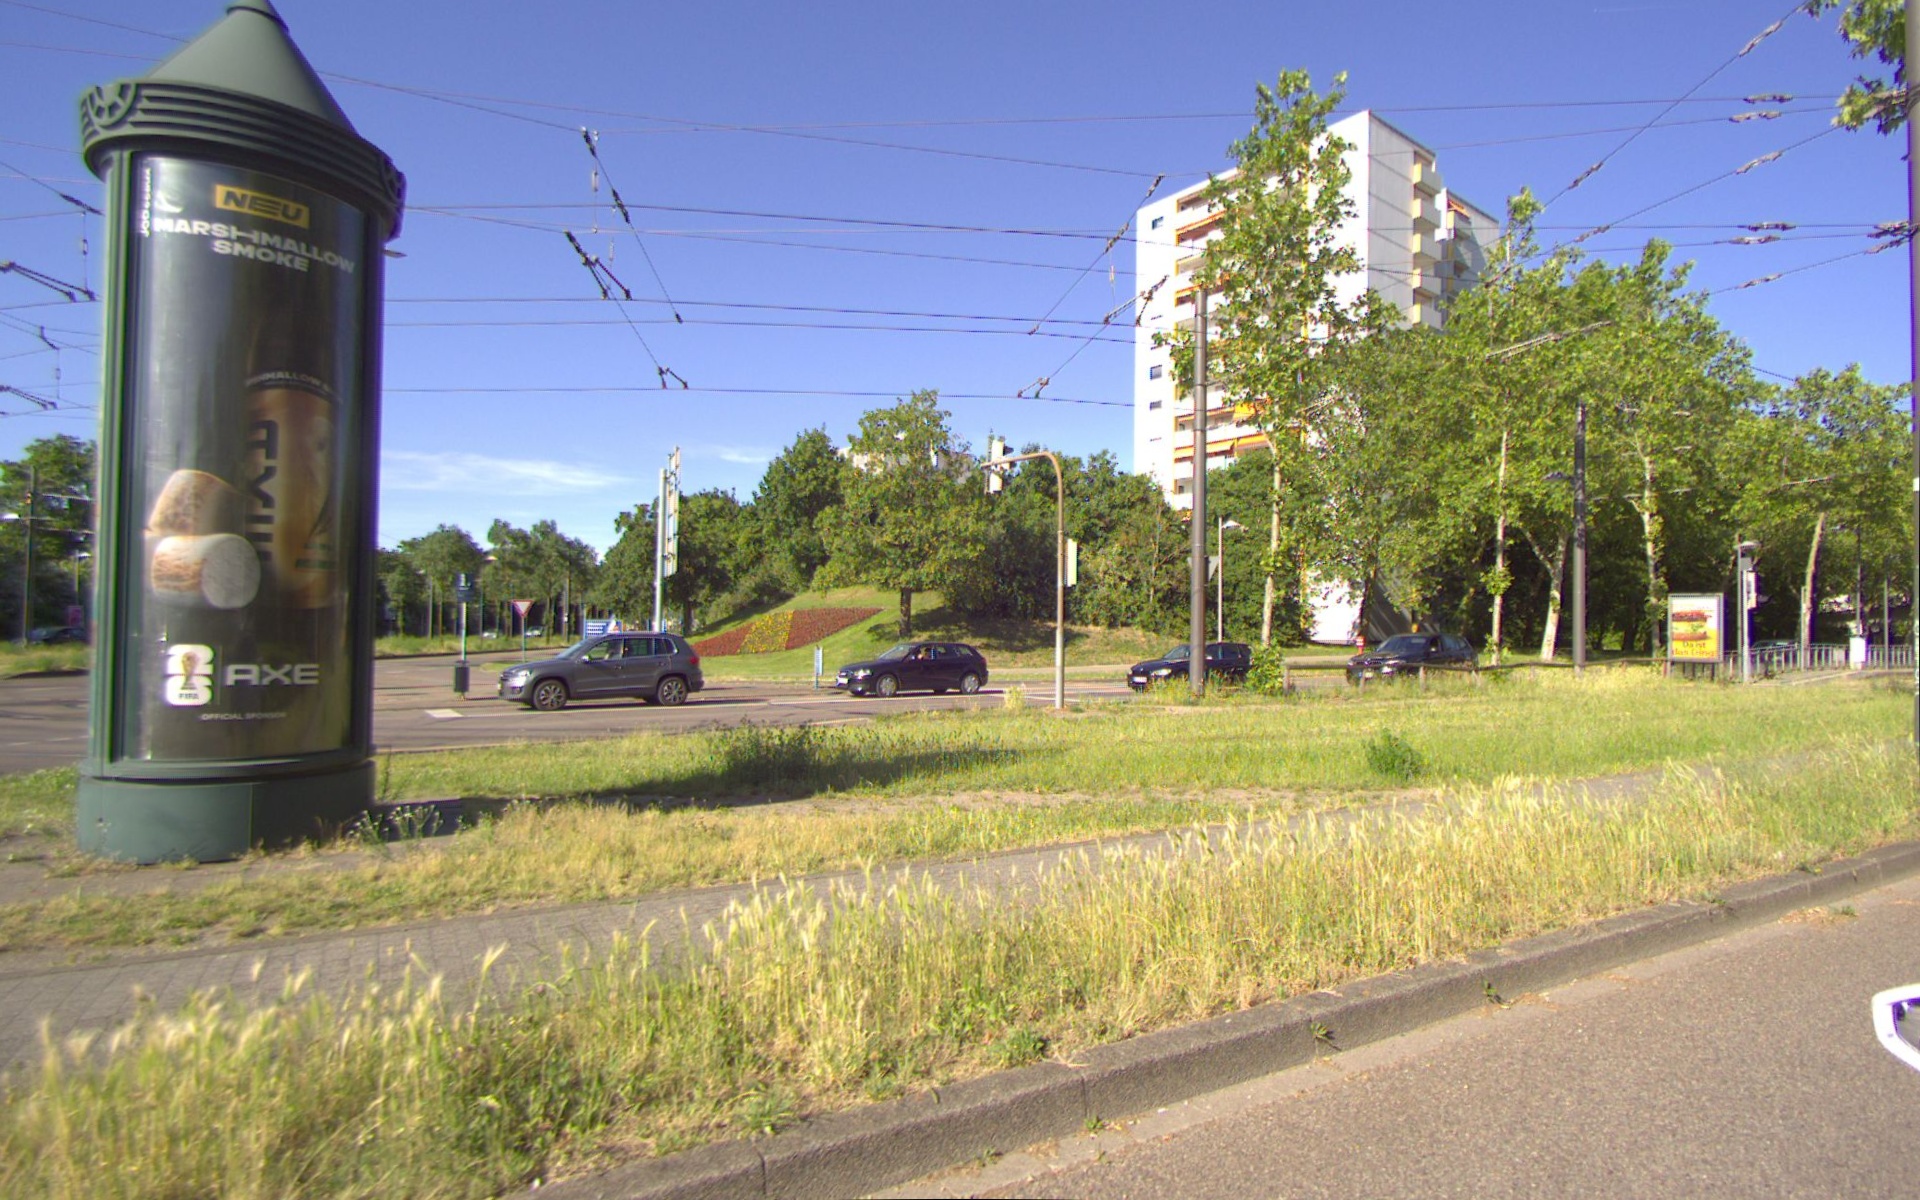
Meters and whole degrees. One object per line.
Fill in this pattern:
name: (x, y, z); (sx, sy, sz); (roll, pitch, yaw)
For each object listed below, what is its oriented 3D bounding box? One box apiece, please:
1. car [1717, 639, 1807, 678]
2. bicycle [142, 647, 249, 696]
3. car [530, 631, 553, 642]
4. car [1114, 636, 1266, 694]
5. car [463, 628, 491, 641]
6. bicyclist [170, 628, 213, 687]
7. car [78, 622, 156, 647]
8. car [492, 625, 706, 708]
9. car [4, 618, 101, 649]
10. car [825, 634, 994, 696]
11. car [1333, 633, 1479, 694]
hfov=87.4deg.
car: (35.023, 2.528, 43.865); (4.220, 1.629, 1.785); (2, -3, -32)
bicycle: (-18.660, 1.730, 24.543); (2.031, 1.122, 0.652); (1, -4, -44)
car: (-57.729, 5.044, 138.606); (1.766, 1.530, 3.998); (0, -2, -6)
car: (6.551, 1.801, 28.527); (4.220, 1.530, 1.785); (2, -3, -32)
car: (-57.058, 4.071, 118.745); (1.766, 1.530, 3.998); (0, -2, -6)
bicyclist: (-18.740, 1.399, 24.493); (0.786, 1.398, 0.652); (1, -3, -44)
car: (-52.490, 2.155, 62.644); (1.766, 1.530, 3.998); (0, -2, -6)
car: (-8.010, 1.437, 22.398); (4.220, 1.700, 1.785); (2, -3, -32)
car: (-47.907, 1.783, 53.138); (1.766, 1.530, 3.998); (0, -2, -6)
car: (-1.298, 1.688, 26.709); (4.224, 1.530, 1.783); (2, -3, -35)
car: (12.699, 1.767, 28.526); (4.187, 1.638, 1.785); (2, -3, -32)
